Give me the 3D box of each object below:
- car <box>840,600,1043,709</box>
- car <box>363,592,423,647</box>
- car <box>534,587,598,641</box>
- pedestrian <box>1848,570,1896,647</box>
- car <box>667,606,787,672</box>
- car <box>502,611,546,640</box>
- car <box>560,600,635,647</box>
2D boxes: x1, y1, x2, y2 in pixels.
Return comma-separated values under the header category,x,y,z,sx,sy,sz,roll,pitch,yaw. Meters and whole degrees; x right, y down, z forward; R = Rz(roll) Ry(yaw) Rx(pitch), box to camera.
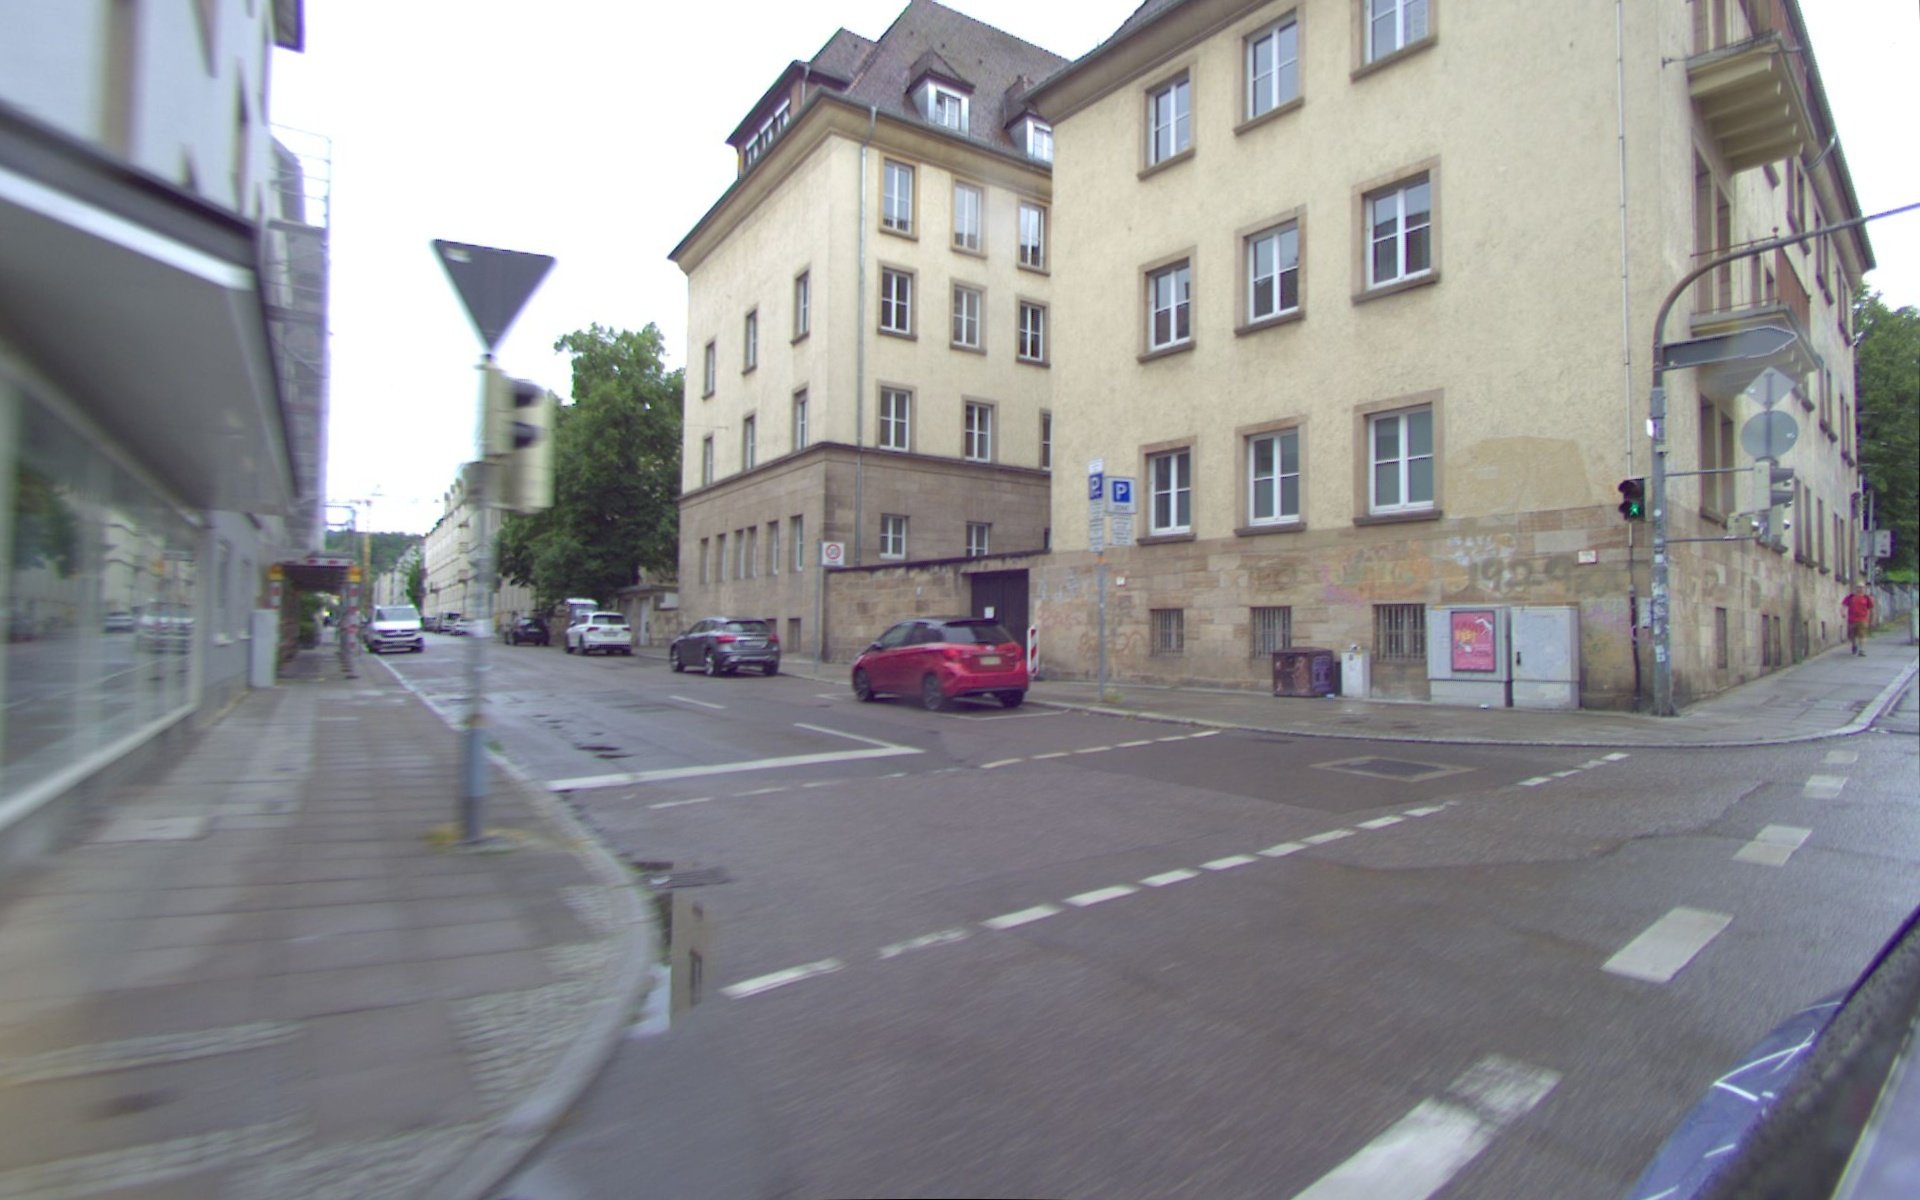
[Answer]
category,x,y,z,sx,sy,sz,roll,pitch,yaw
car,-0.437,0.822,17.291,1.731,1.538,3.865,-2,2,-31
car,-23.667,0.768,42.151,1.799,2.097,4.332,-2,1,-34
car,-17.356,0.556,44.490,1.799,2.193,3.863,-2,1,-34
pedestrian,21.781,0.185,24.164,0.805,1.785,0.747,-1,3,-44
car,-6.124,0.945,26.314,1.798,1.474,3.863,-1,1,-34
car,-22.560,1.293,52.264,1.415,1.337,3.617,-2,2,-34
car,-14.006,0.866,39.015,1.799,1.634,3.863,-2,2,-34
